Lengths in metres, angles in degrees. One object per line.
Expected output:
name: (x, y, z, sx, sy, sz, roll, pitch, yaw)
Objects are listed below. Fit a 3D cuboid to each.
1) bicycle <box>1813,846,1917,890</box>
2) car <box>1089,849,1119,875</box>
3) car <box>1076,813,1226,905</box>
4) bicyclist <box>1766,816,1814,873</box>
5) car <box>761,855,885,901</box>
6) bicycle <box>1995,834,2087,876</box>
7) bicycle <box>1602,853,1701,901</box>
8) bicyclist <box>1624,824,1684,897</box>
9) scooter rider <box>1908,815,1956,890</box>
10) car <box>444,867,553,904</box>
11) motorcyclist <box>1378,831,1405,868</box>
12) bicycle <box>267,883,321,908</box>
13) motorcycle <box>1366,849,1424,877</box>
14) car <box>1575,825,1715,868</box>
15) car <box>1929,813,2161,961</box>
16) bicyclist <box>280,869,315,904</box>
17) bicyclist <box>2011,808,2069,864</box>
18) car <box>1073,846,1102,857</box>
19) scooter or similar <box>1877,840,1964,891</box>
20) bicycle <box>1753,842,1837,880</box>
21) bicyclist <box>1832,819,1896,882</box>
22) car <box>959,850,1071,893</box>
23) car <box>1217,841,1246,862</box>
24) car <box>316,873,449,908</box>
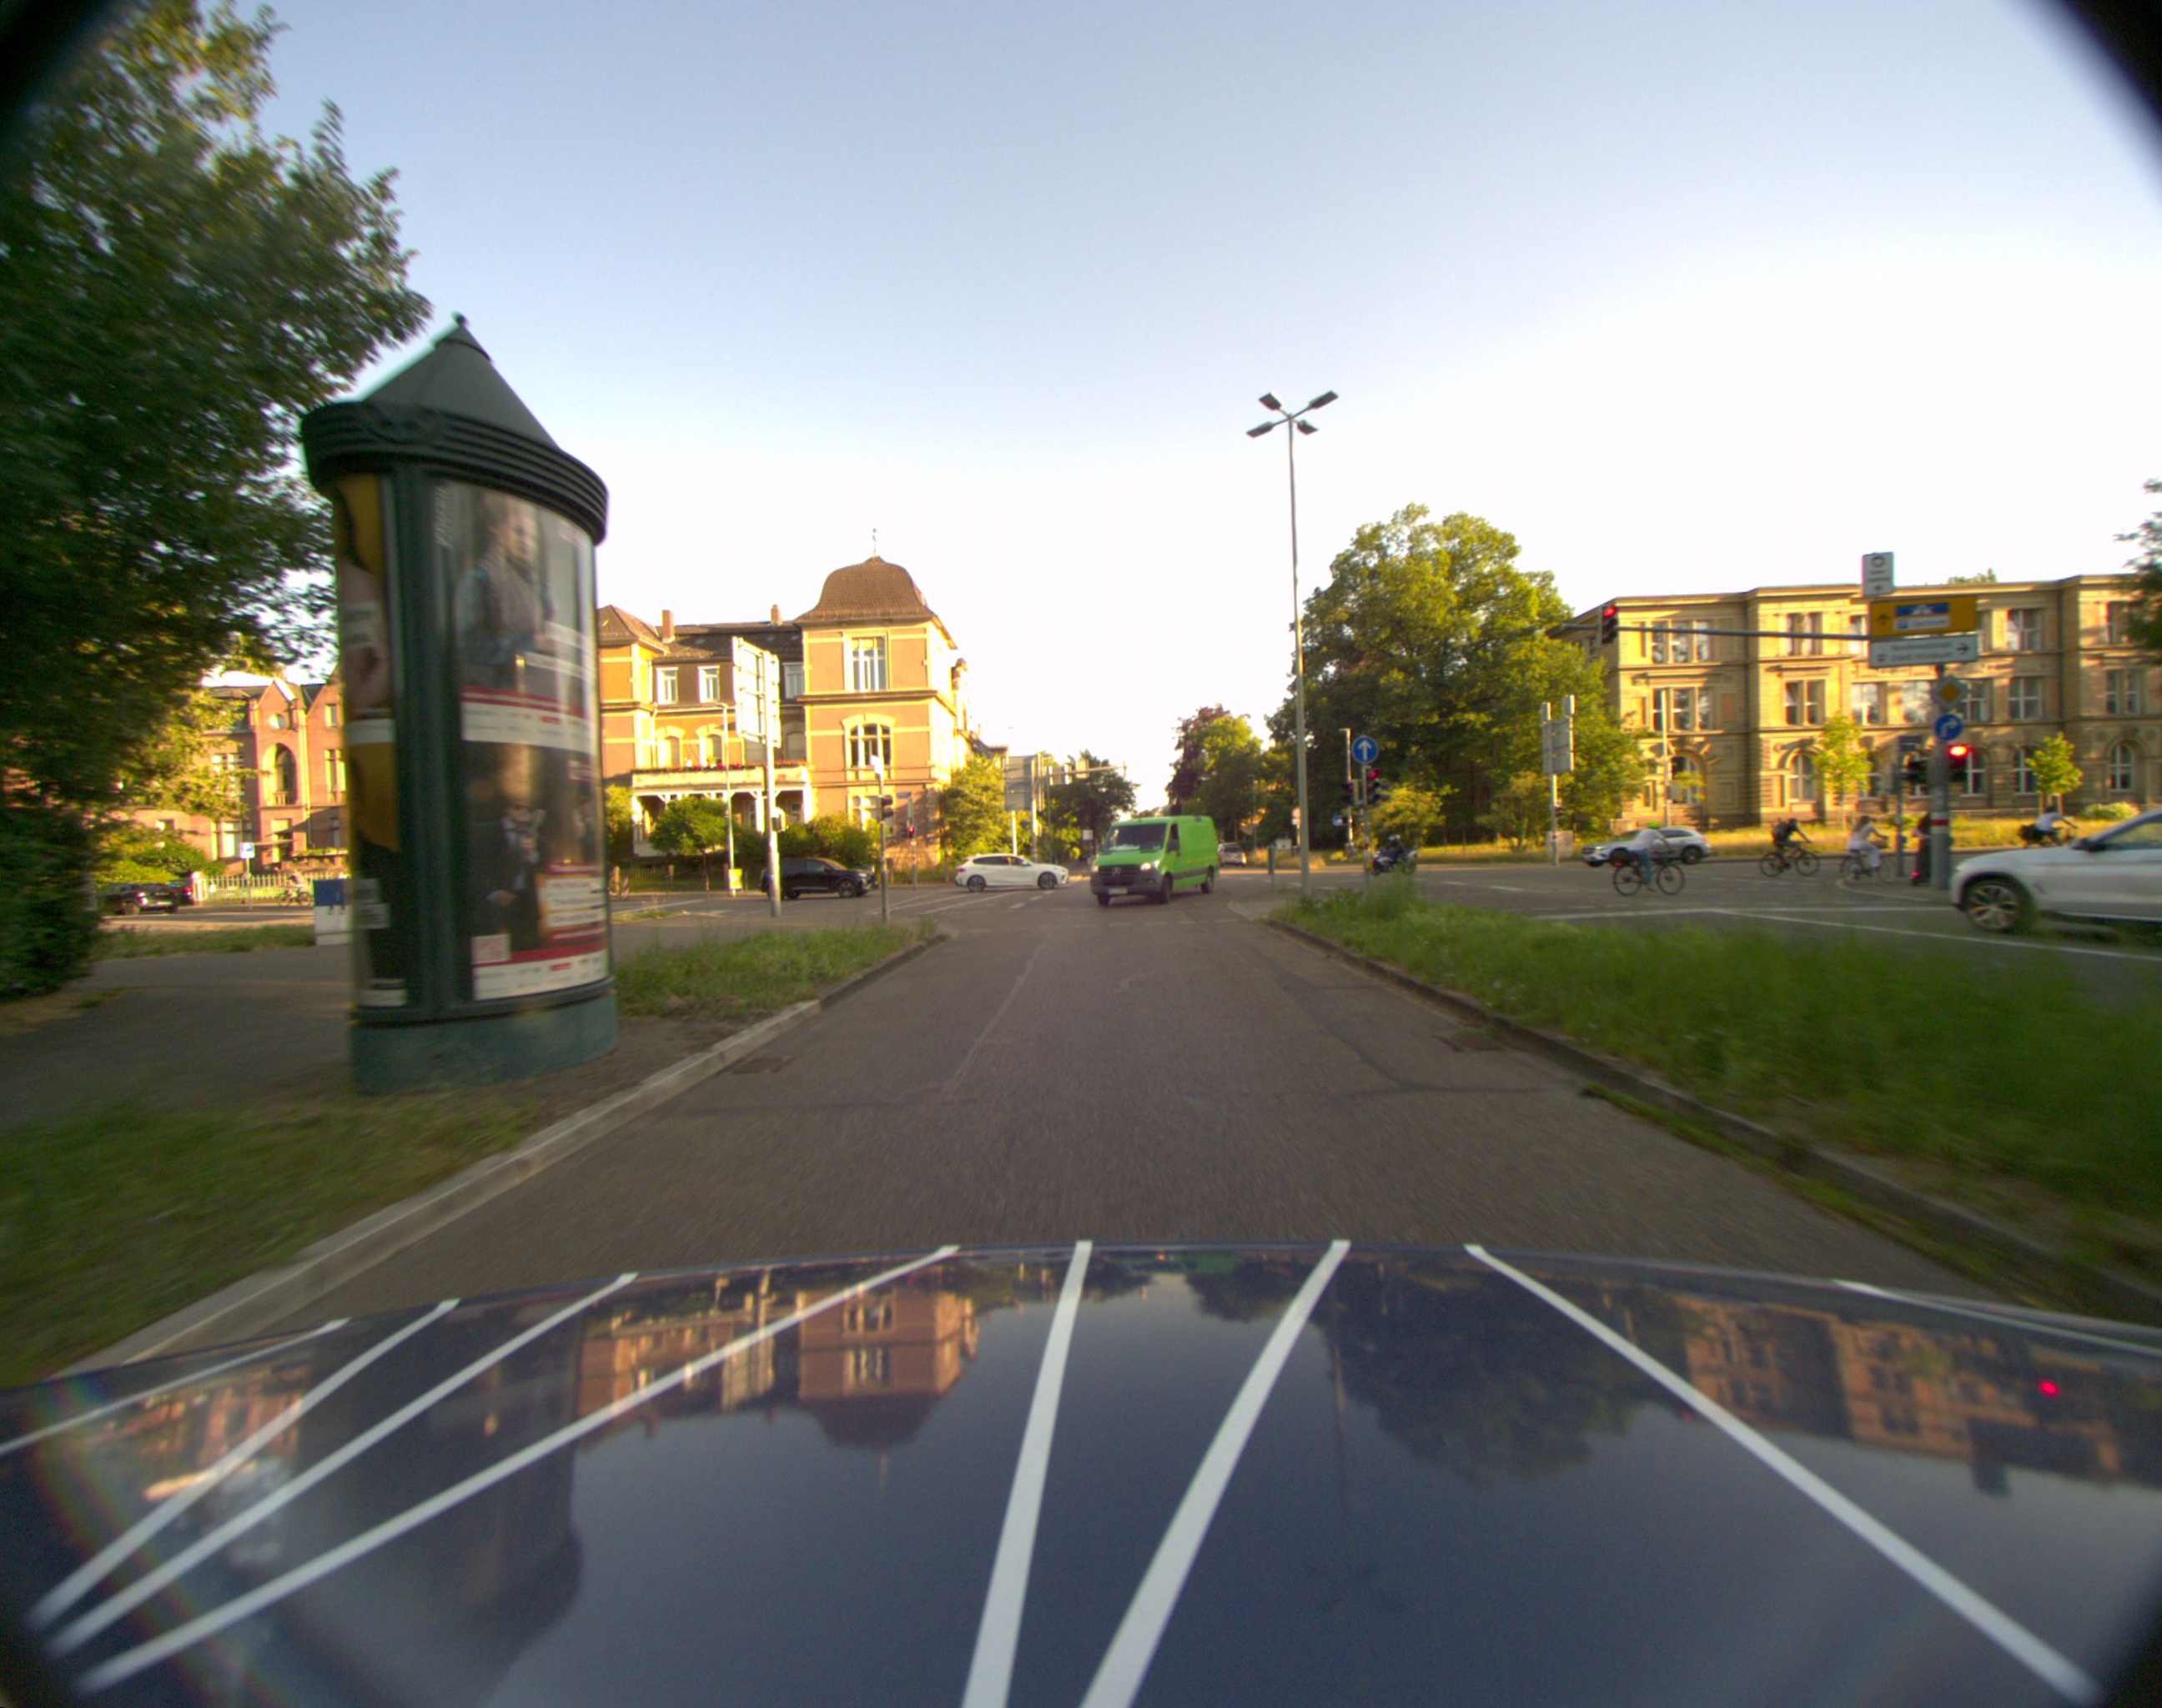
bicycle: (19.785, 0.351, 19.184, 2.016, 1.001, 0.773, -2, 2, -7)
car: (1.484, 0.470, 47.973, 1.689, 1.501, 3.701, -4, 0, 3)
car: (2.208, 0.080, 21.790, 2.040, 2.265, 5.951, -1, 1, 28)
bicyclist: (21.273, -0.280, 22.817, 0.797, 1.658, 0.700, -2, 2, 1)
car: (-9.610, 0.872, 28.495, 3.997, 1.527, 1.683, -2, 1, 1)
bicycle: (28.100, 0.016, 22.248, 1.882, 1.131, 0.615, -2, 2, 2)
bicycle: (12.740, 0.501, 16.980, 1.801, 1.008, 0.565, -2, 1, -2)
bicyclist: (12.787, 0.140, 16.978, 0.898, 1.560, 0.555, -2, 1, -1)
scooter rider: (20.225, -0.038, 18.070, 0.504, 1.756, 0.567, -1, 1, 3)
car: (-26.216, 1.437, 34.286, 3.719, 1.525, 1.634, -2, -2, 3)
motorcyclist: (11.802, -0.174, 28.905, 0.703, 1.350, 0.752, -1, 1, 2)
bicycle: (-38.299, 2.012, 36.973, 1.901, 1.083, 0.660, -2, 3, 2)
motorcycle: (11.933, 0.351, 28.904, 1.877, 0.995, 0.756, -2, 1, 2)
car: (23.988, -0.311, 32.457, 4.507, 1.626, 1.771, -2, 1, 7)
car: (12.646, 0.364, 8.282, 1.825, 1.604, 4.642, 0, 1, 5)
bicyclist: (-38.119, 1.565, 36.959, 0.914, 1.624, 0.653, -1, 3, 2)
bicyclist: (28.048, -0.535, 22.240, 0.909, 1.577, 0.605, -2, 2, 2)
car: (0.887, -0.382, 108.137, 3.838, 1.500, 1.811, 0, 3, 41)
scooter or similar: (19.978, 0.268, 18.094, 1.420, 1.182, 0.564, -1, 1, 3)
bicycle: (21.434, 0.195, 22.833, 1.823, 1.057, 0.701, -2, 2, 1)
bicyclist: (19.749, -0.090, 19.175, 0.856, 1.509, 0.761, -2, 2, -7)
car: (-2.570, 0.658, 29.568, 4.188, 1.457, 1.756, -2, 1, -6)
car: (13.845, -0.275, 70.259, 1.861, 1.835, 4.120, -2, 1, 1)
car: (-31.276, 1.627, 34.106, 4.429, 1.434, 1.610, -2, -2, -1)
